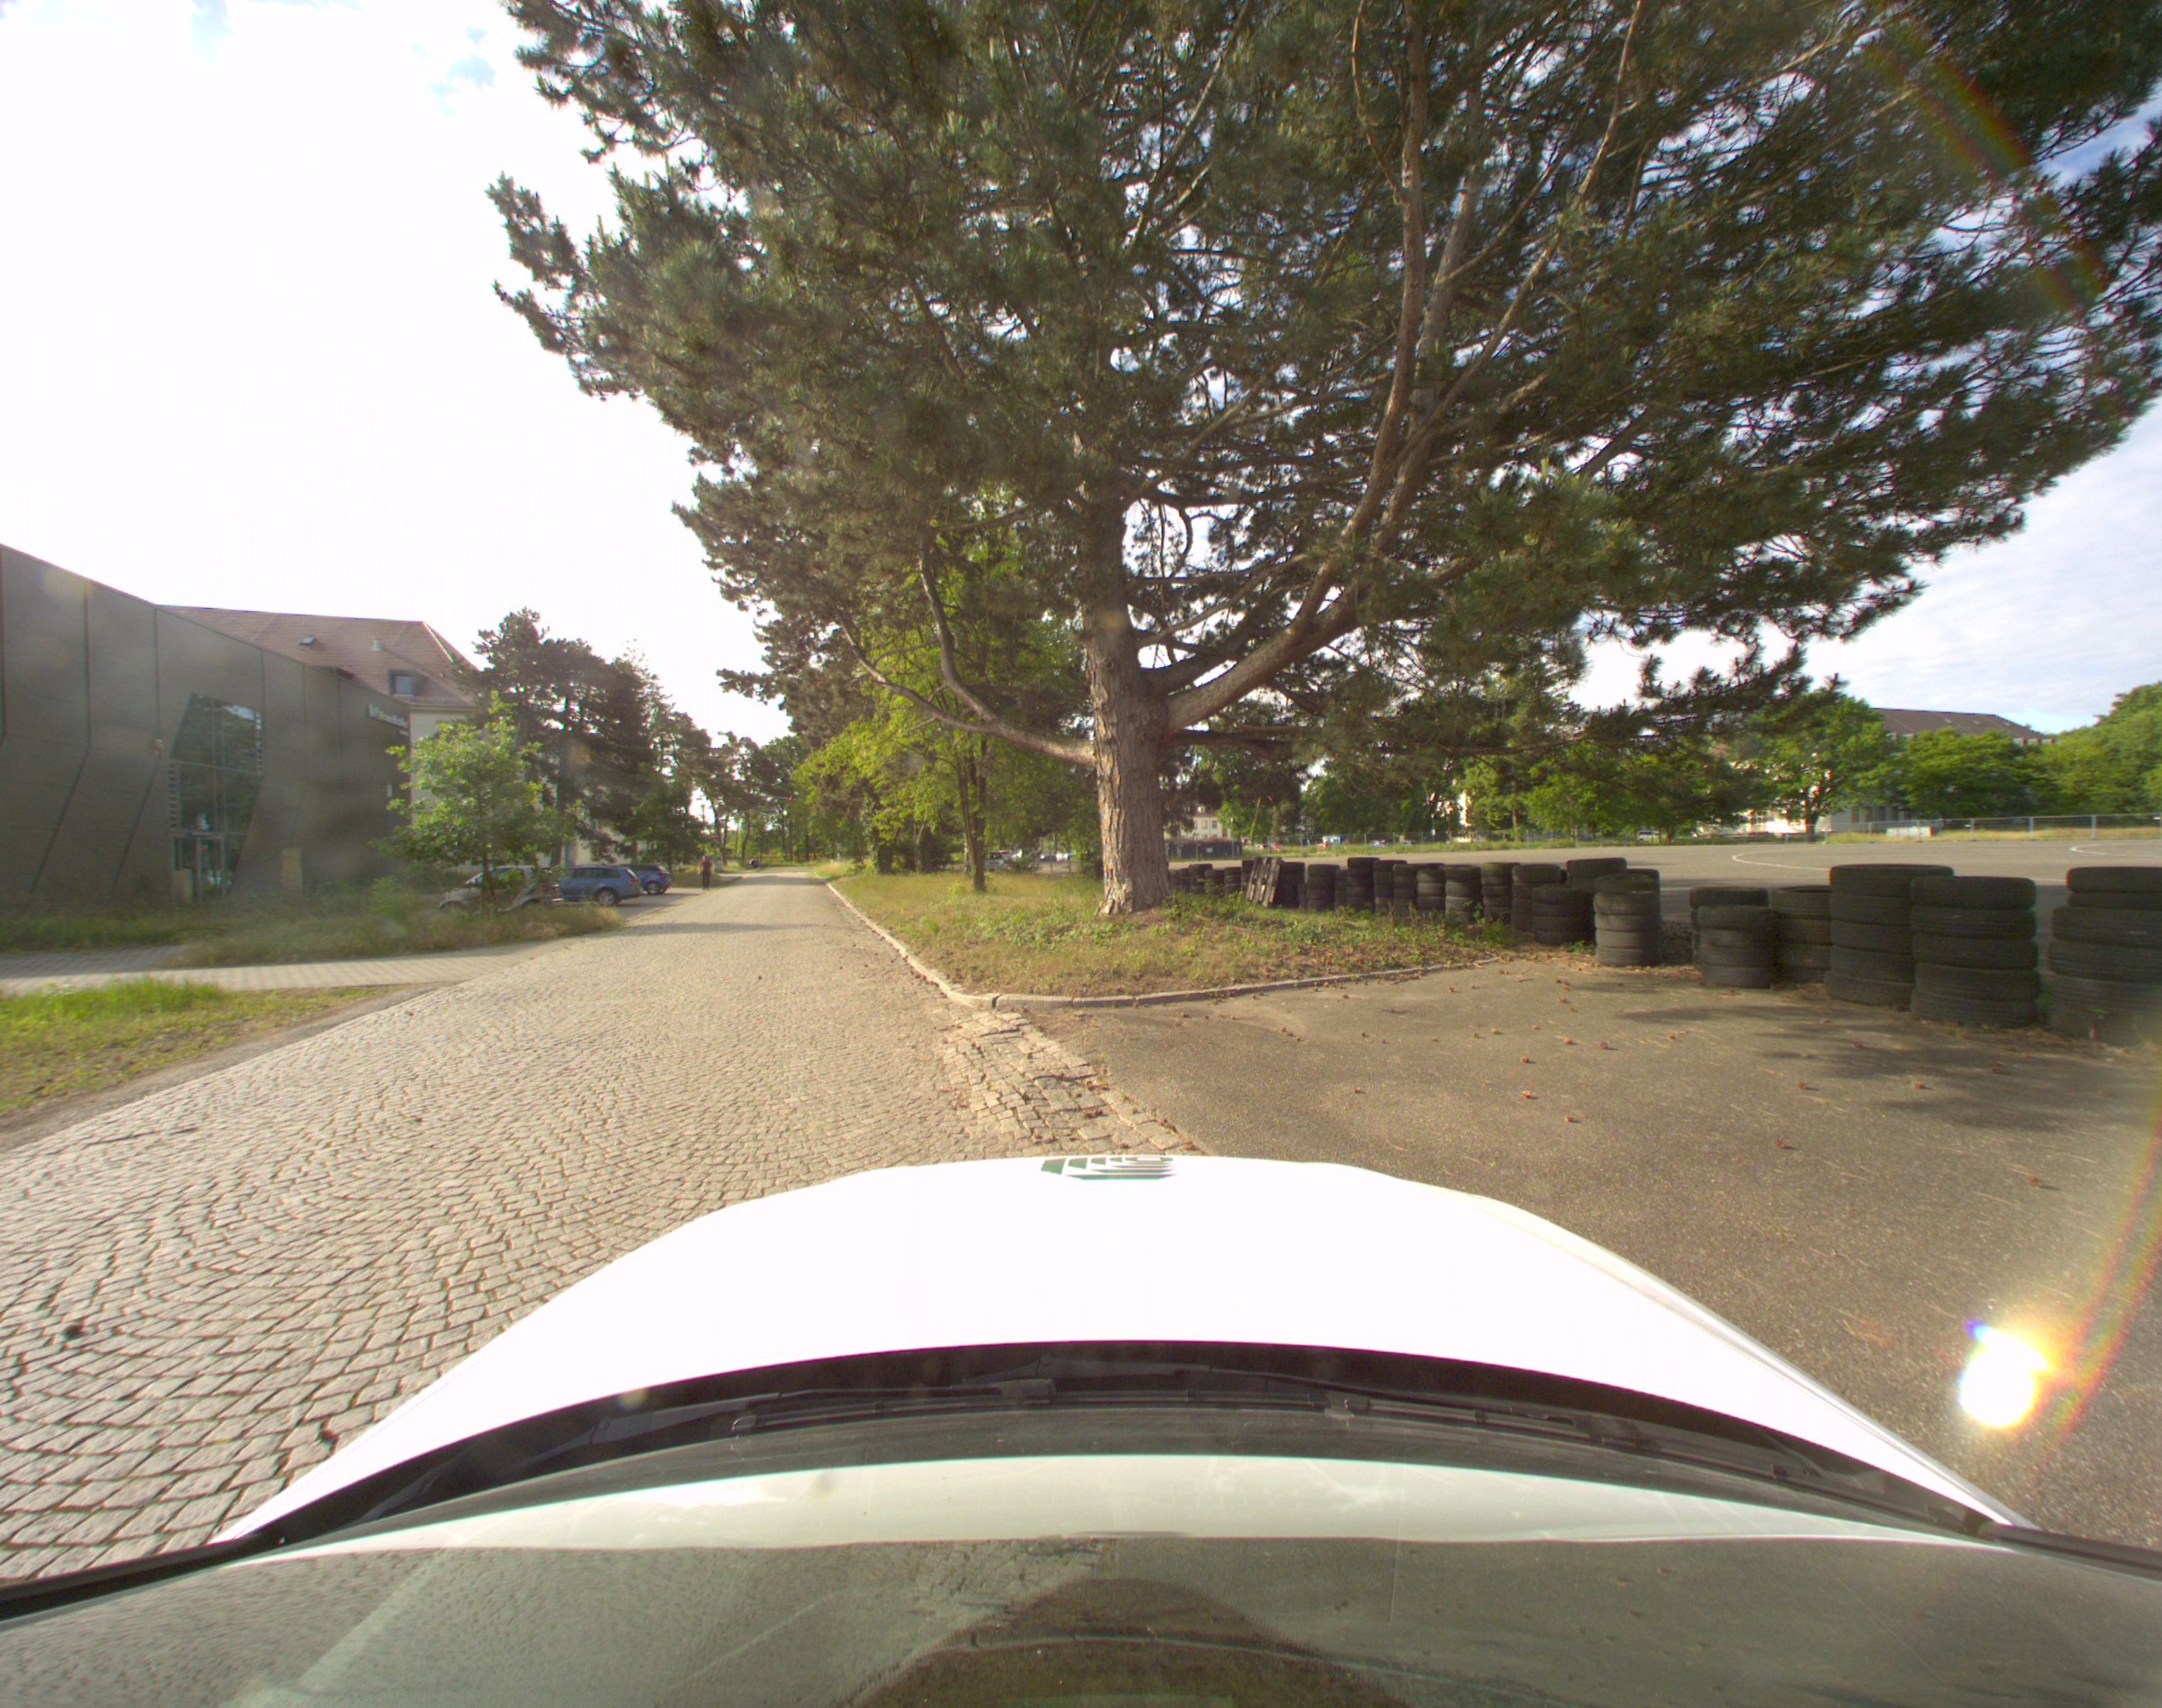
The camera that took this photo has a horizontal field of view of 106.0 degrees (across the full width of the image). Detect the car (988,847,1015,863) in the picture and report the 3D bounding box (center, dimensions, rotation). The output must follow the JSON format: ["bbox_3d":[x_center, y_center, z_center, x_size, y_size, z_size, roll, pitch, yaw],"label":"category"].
[{"bbox_3d":[-8.550,0.132,87.786,2.000,1.618,3.974,-2,0,-19],"label":"car"}]

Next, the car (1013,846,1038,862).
[{"bbox_3d":[-6.093,-0.013,88.951,1.826,1.618,3.977,-2,0,-17],"label":"car"}]

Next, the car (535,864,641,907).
[{"bbox_3d":[-17.820,1.111,29.560,3.098,1.457,1.480,1,-1,-25],"label":"car"}]

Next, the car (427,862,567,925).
[{"bbox_3d":[-16.026,1.061,22.474,2.766,1.549,1.417,-2,0,-16],"label":"car"}]

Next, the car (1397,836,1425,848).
[{"bbox_3d":[48.903,-1.791,120.800,1.993,1.750,3.987,-2,0,-9],"label":"car"}]

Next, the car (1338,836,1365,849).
[{"bbox_3d":[38.960,-1.635,117.391,1.995,1.750,3.984,-2,0,-12],"label":"car"}]

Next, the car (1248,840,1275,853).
[{"bbox_3d":[24.826,-1.054,112.335,1.997,1.750,3.980,-2,0,-14],"label":"car"}]

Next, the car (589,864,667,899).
[{"bbox_3d":[-21.184,1.257,38.200,3.099,1.450,1.479,-2,0,-26],"label":"car"}]

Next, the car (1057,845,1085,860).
[{"bbox_3d":[-1.132,-0.171,91.378,2.000,1.618,3.974,-2,0,-19],"label":"car"}]

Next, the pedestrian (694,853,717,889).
[{"bbox_3d":[-20.182,0.903,43.747,0.963,1.844,0.946,-2,0,-34],"label":"pedestrian"}]

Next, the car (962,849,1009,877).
[{"bbox_3d":[-5.827,0.534,49.182,1.893,1.541,3.972,-2,0,-21],"label":"car"}]

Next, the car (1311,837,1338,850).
[{"bbox_3d":[34.567,-1.500,115.641,1.996,1.750,3.982,-2,0,-13],"label":"car"}]

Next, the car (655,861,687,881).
[{"bbox_3d":[-37.063,1.501,73.752,2.000,1.618,3.974,-2,0,-19],"label":"car"}]

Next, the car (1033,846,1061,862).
[{"bbox_3d":[-3.796,-0.009,90.087,2.000,1.618,3.974,-2,0,-19],"label":"car"}]

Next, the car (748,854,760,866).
[{"bbox_3d":[-55.395,0.979,138.085,1.703,2.013,3.974,-2,0,-19],"label":"car"}]
